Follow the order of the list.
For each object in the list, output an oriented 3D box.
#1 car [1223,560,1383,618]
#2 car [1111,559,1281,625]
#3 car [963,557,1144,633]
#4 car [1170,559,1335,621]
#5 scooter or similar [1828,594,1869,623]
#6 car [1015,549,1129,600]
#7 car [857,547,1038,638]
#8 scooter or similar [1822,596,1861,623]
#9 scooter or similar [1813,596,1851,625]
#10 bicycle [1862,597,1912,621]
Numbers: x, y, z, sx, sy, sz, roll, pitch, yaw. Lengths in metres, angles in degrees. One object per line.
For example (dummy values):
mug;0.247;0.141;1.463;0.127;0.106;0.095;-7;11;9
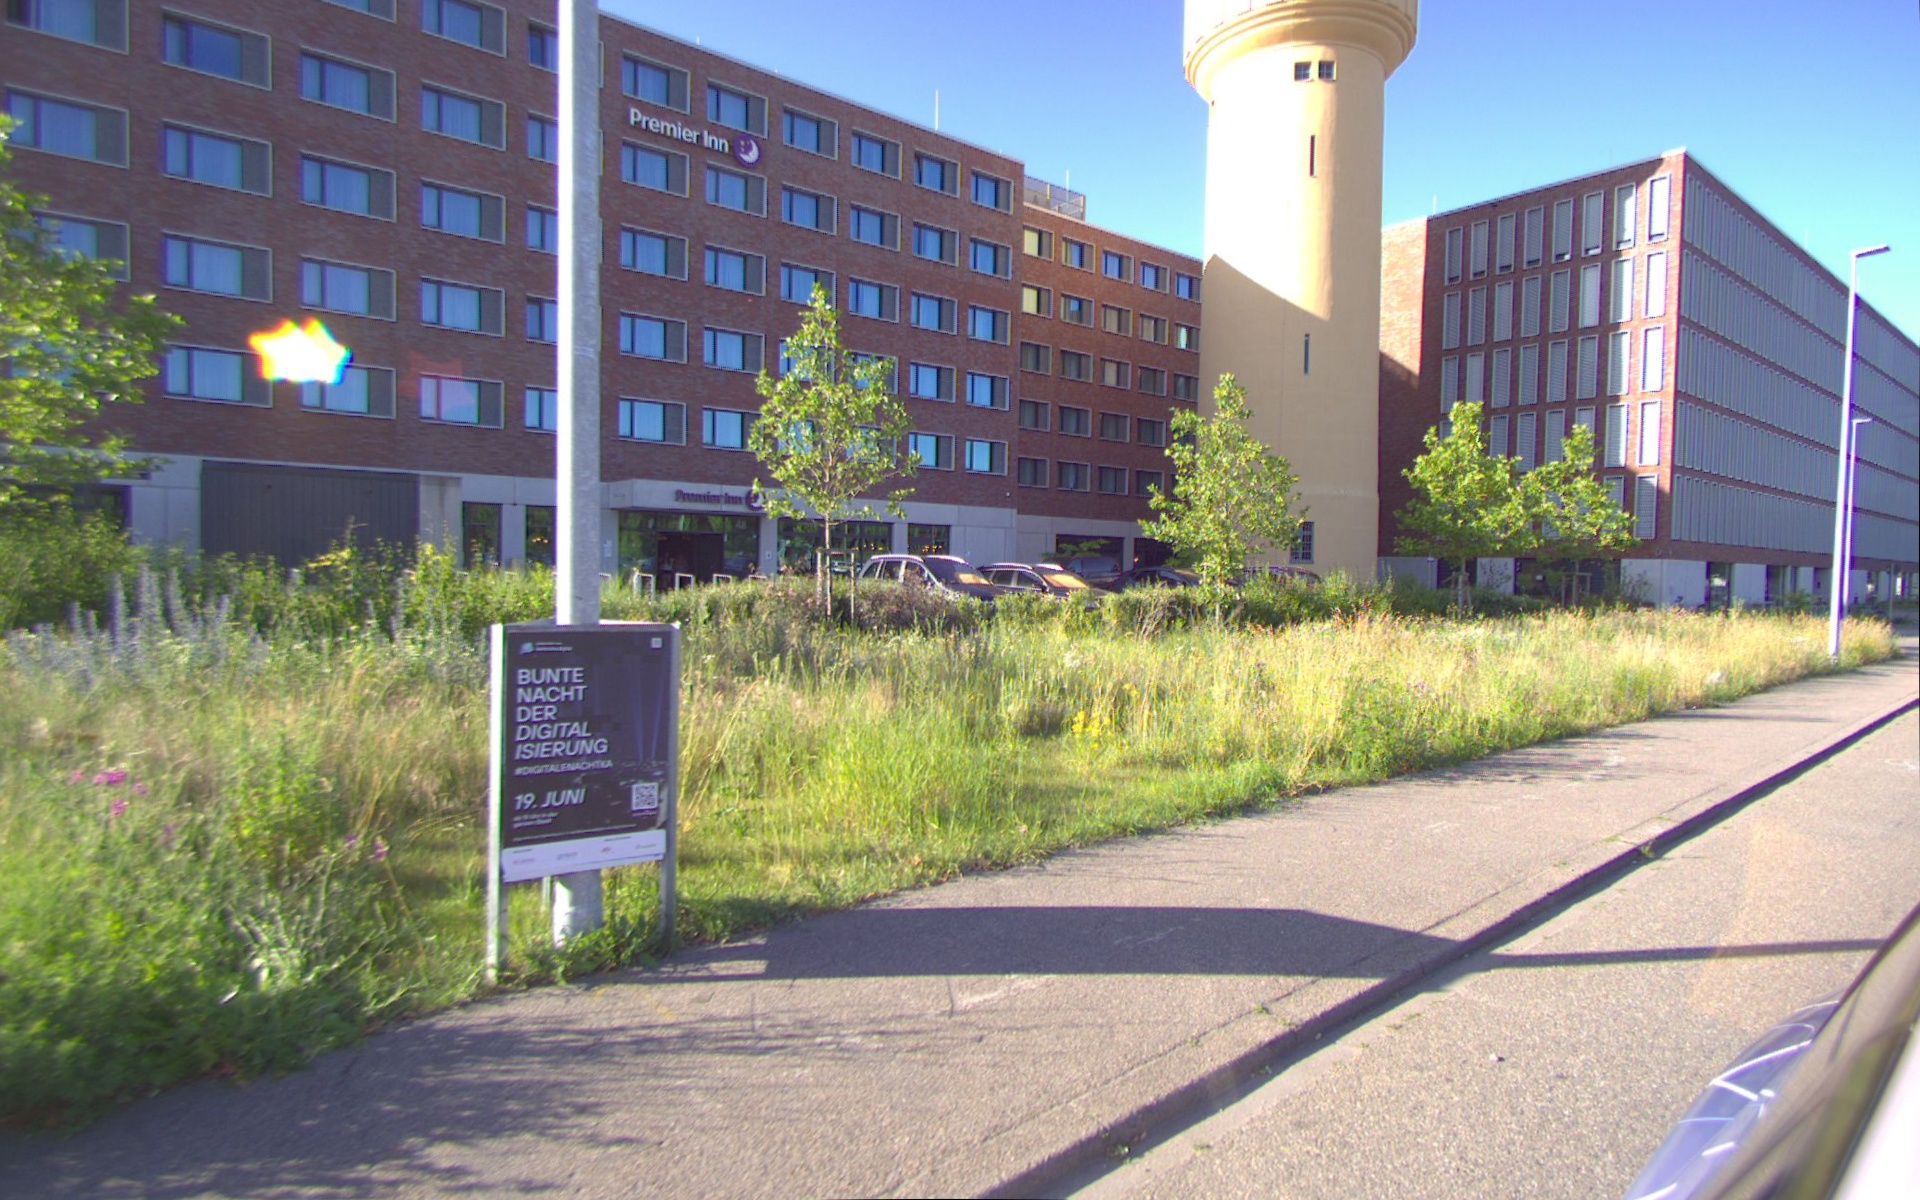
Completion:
car;10.075;-0.349;29.956;1.817;1.600;4.196;0;1;-37
car;6.152;-0.244;26.817;1.817;1.600;4.196;0;1;-37
car;2.043;-0.146;23.291;1.817;1.600;4.196;0;1;-37
car;8.076;-0.293;28.288;1.817;1.600;4.196;0;1;-37
scooter or similar;41.607;0.394;47.398;0.416;1.260;1.345;0;2;-36
car;4.665;-1.010;41.729;4.707;1.959;1.976;0;1;-40
car;-0.360;-0.189;21.353;1.817;1.727;3.999;0;1;-37
scooter or similar;40.428;0.427;46.423;0.359;1.170;1.247;0;2;-36
scooter or similar;39.165;0.457;45.463;0.334;1.209;1.247;0;2;-36
bicycle;50.258;0.461;54.898;1.932;1.184;0.369;4;3;44
